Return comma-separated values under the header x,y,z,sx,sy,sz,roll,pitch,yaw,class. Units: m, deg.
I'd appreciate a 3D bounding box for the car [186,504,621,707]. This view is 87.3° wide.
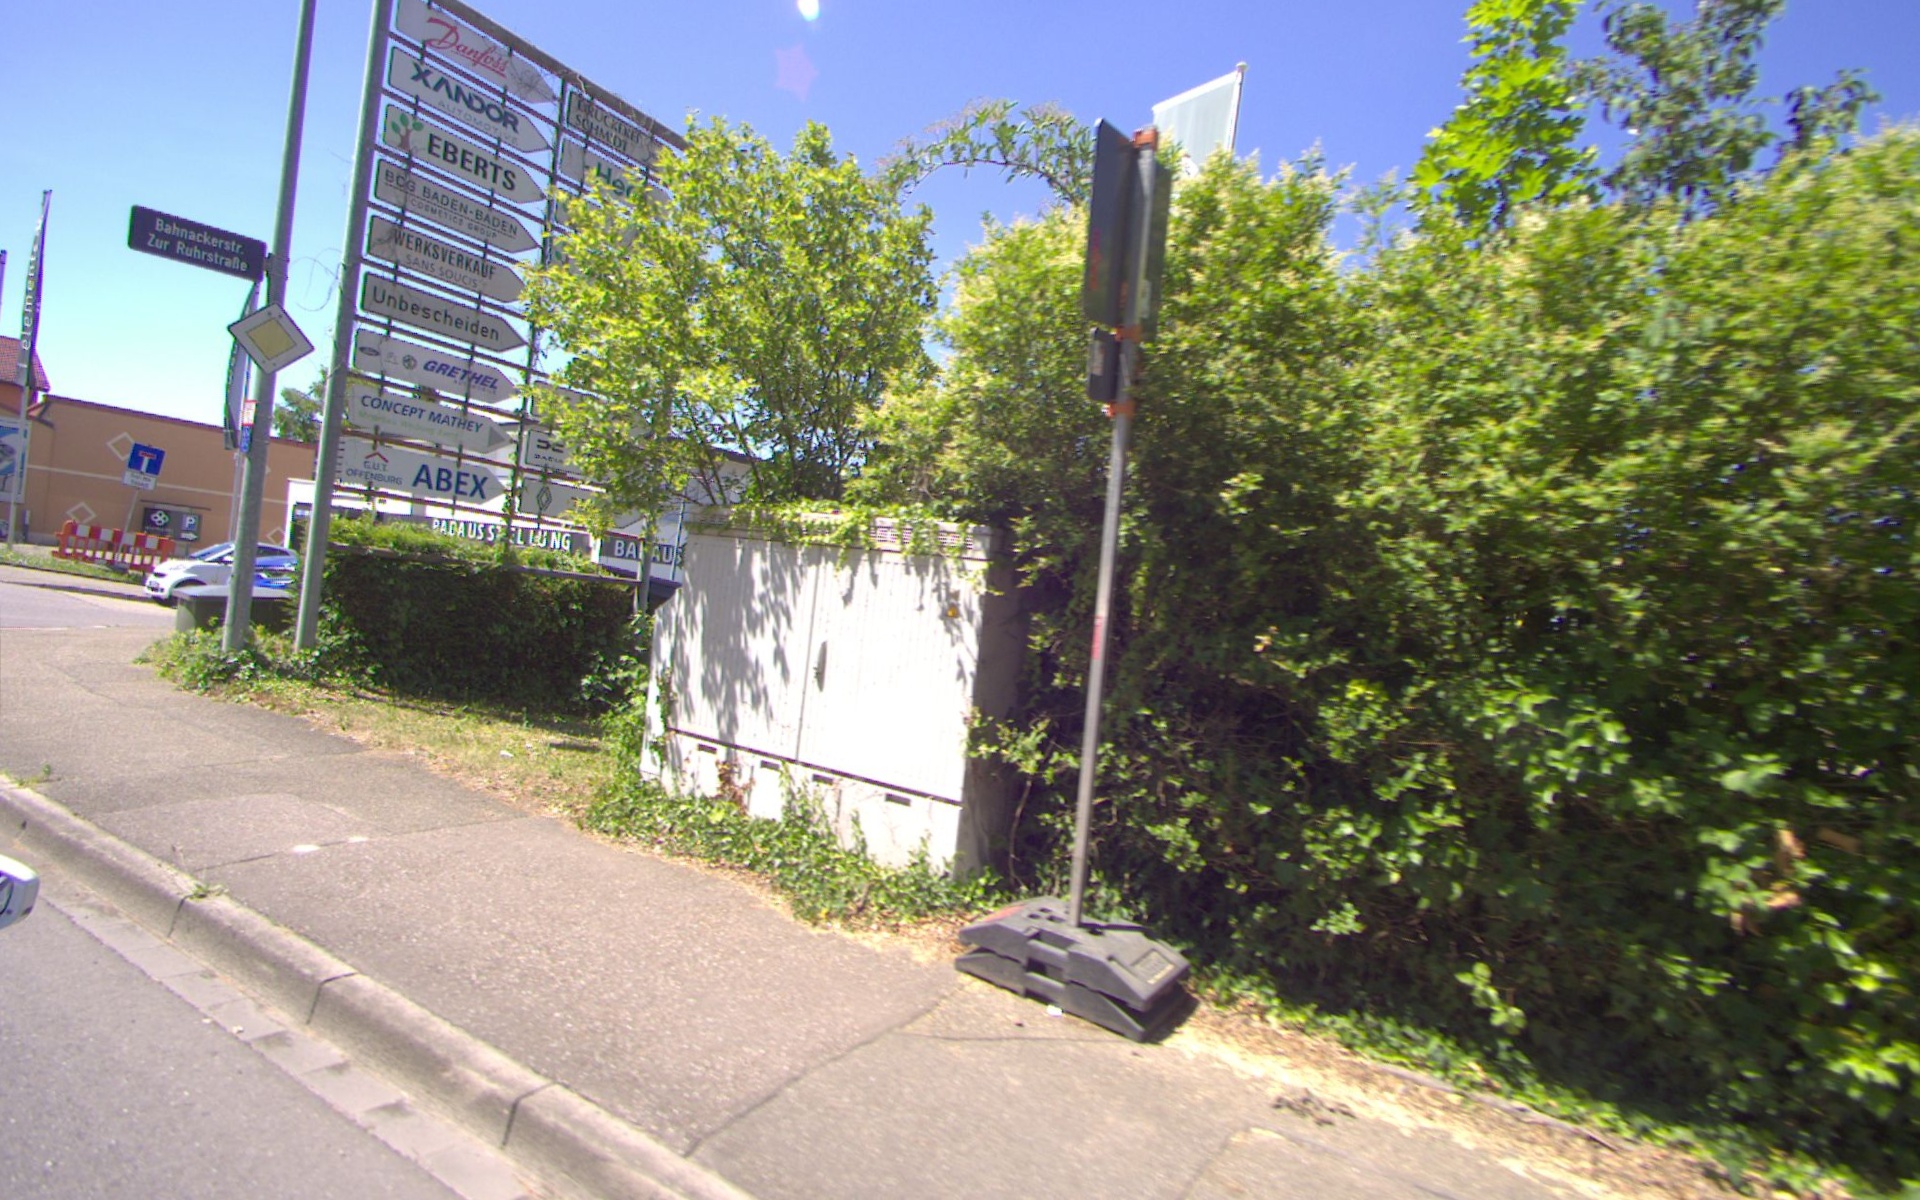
x,y,z,sx,sy,sz,roll,pitch,yaw,class
-6.526,0.164,12.147,1.832,1.527,4.072,4,-9,43,car

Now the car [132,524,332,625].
x,y,z,sx,sy,sz,roll,pitch,yaw,class
-14.644,-0.481,20.328,1.573,1.535,2.772,4,-6,37,car

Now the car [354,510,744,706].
x,y,z,sx,sy,sz,roll,pitch,yaw,class
-6.404,0.207,16.083,5.225,1.918,1.985,13,-4,-27,car

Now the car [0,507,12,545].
x,y,z,sx,sy,sz,roll,pitch,yaw,class
-45.111,-3.594,44.549,1.862,1.618,4.257,8,0,39,car

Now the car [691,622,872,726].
x,y,z,sx,sy,sz,roll,pitch,yaw,class
-4.046,1.582,22.307,1.819,1.675,4.318,11,-4,-41,car
